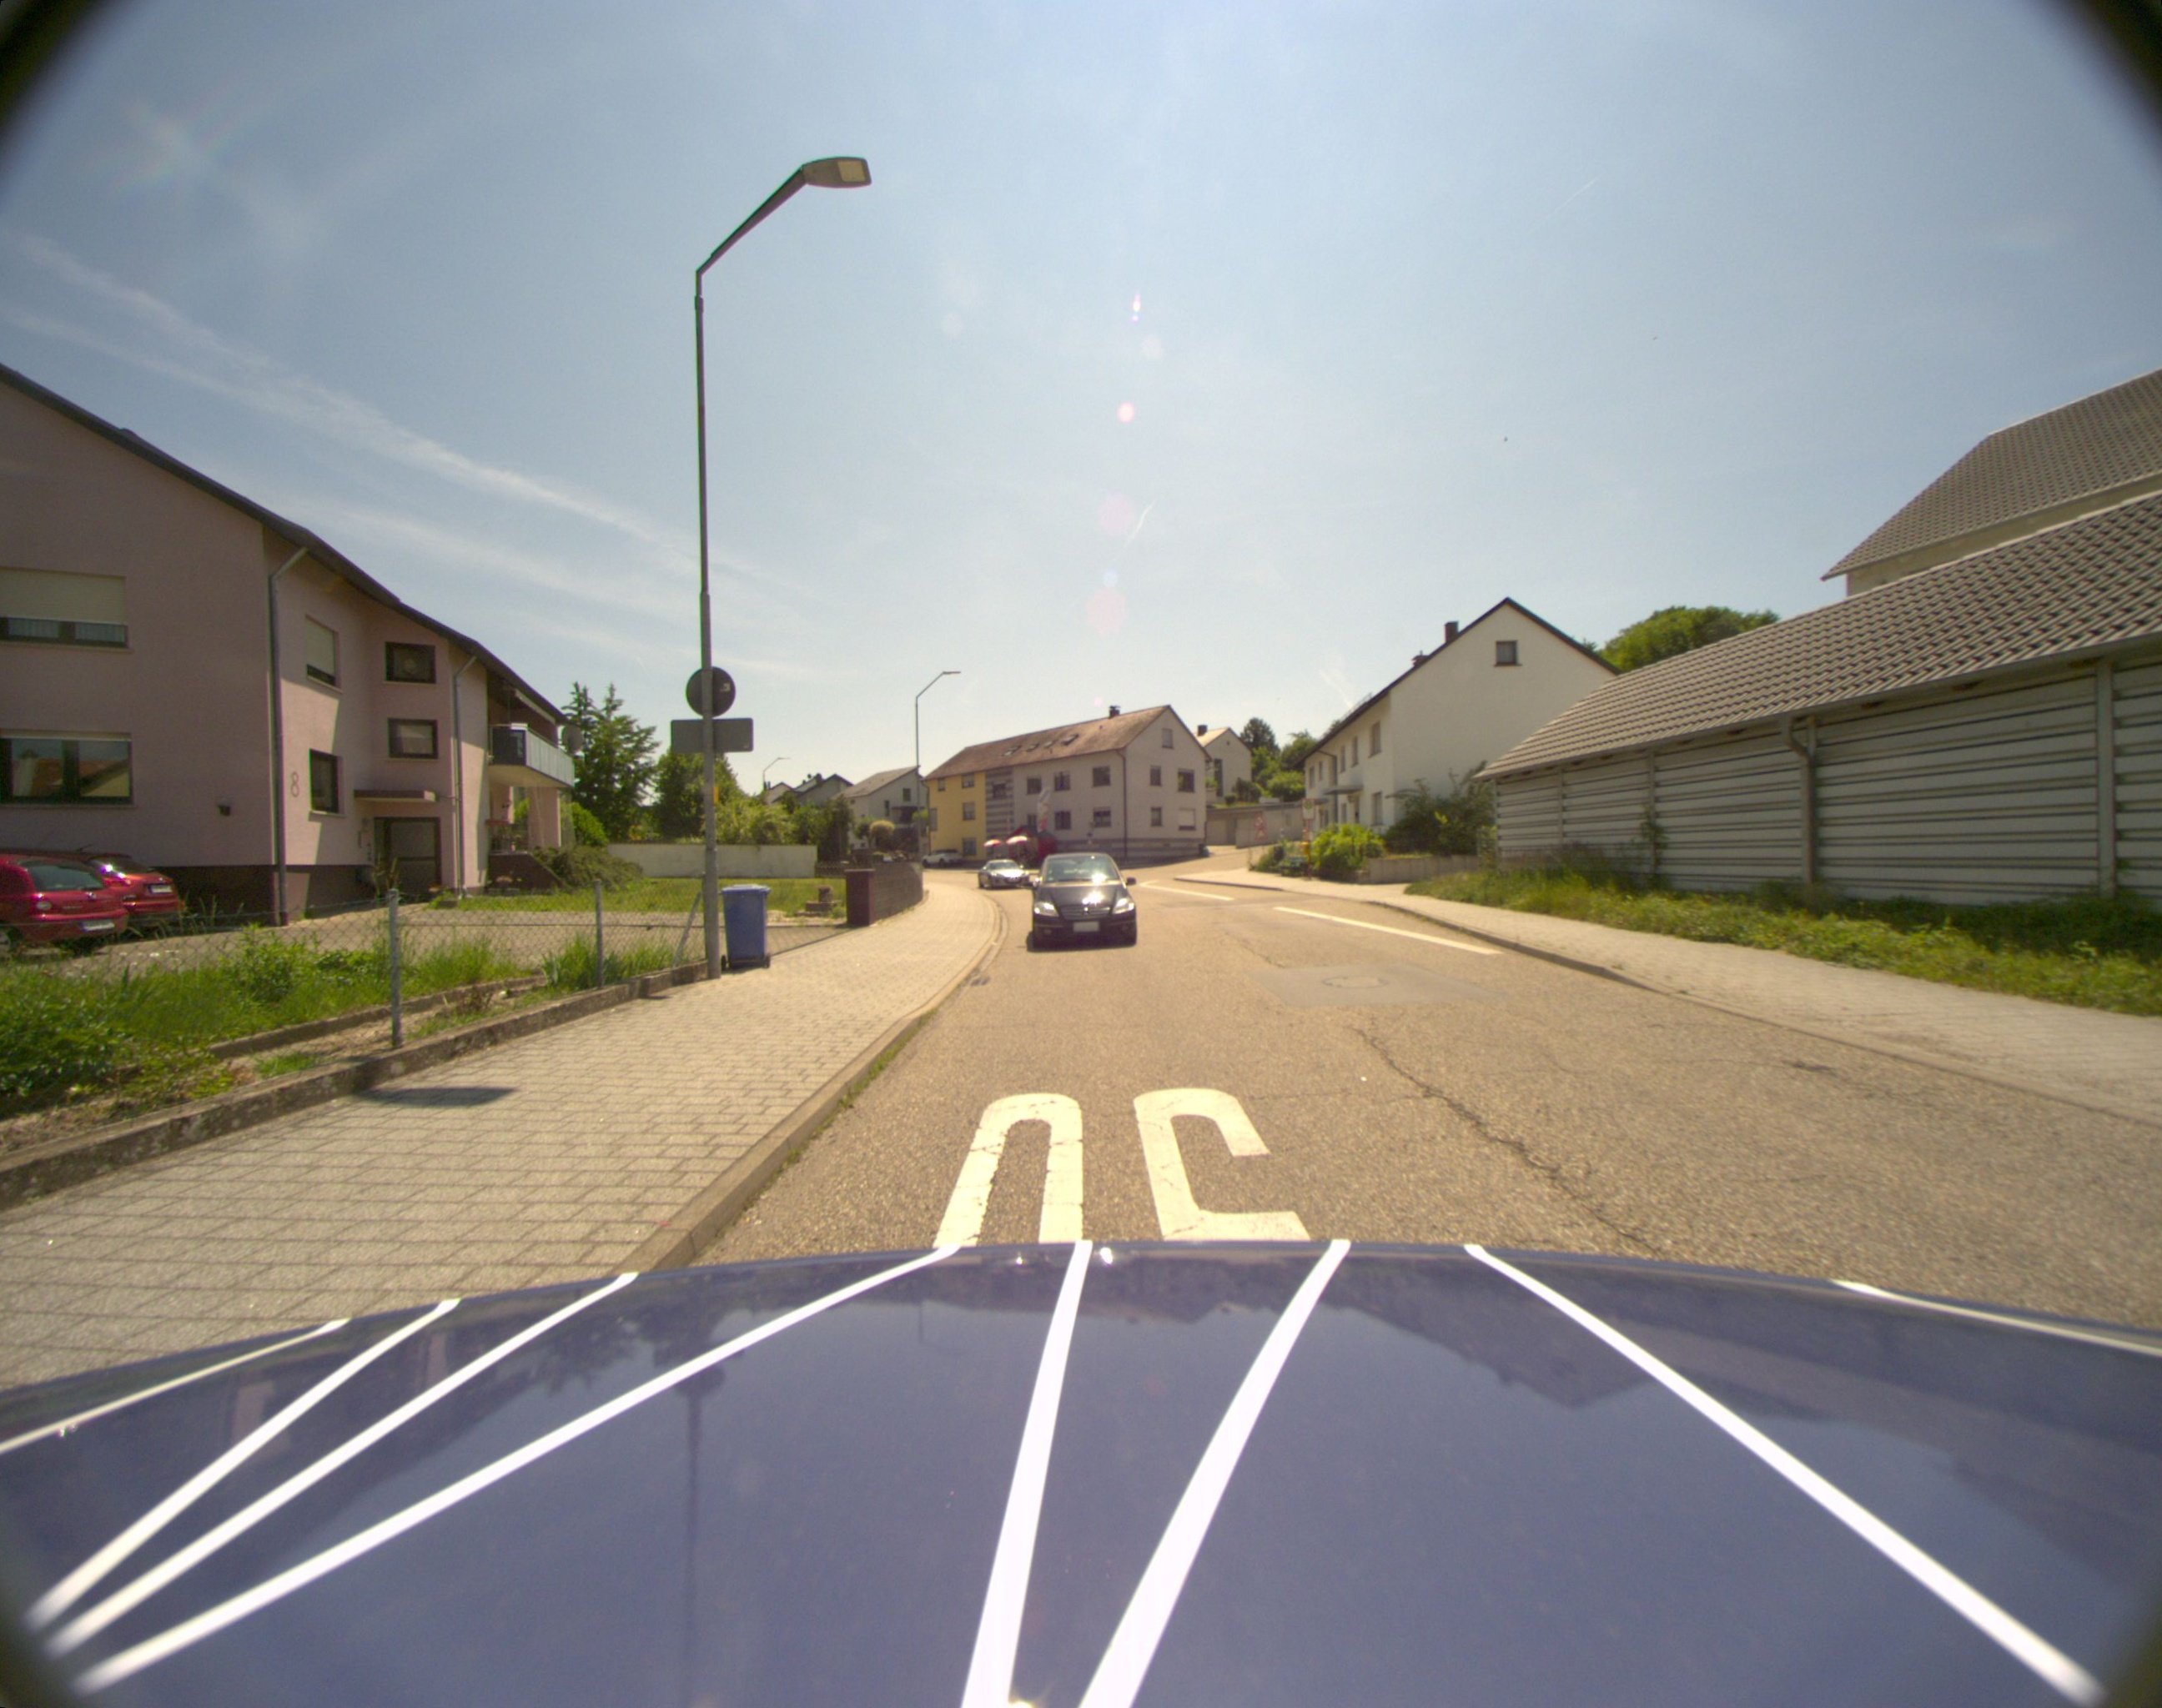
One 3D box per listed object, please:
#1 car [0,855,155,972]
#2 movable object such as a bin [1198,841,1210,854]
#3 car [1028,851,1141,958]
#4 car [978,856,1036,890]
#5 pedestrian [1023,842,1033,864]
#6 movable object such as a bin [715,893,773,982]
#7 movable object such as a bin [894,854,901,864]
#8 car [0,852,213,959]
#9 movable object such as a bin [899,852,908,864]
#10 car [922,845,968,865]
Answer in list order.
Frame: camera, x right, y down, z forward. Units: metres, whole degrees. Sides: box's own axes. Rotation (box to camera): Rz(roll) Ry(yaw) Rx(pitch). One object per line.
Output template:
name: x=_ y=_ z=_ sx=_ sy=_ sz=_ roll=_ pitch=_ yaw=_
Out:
car: x=-15.382 y=0.757 z=9.874 sx=3.842 sy=1.477 sz=1.758 roll=0 pitch=0 yaw=-23
movable object such as a bin: x=8.537 y=-0.456 z=52.856 sx=0.599 sy=0.929 sz=0.601 roll=0 pitch=2 yaw=44
car: x=-0.081 y=0.812 z=14.401 sx=1.765 sy=1.583 sz=4.195 roll=-2 pitch=2 yaw=-4
car: x=-3.384 y=0.812 z=34.116 sx=1.816 sy=1.307 sz=3.994 roll=-2 pitch=1 yaw=-17
pedestrian: x=-3.846 y=-0.080 z=55.216 sx=0.613 sy=1.578 sz=0.808 roll=-3 pitch=1 yaw=-11
movable object such as a bin: x=-4.331 y=1.060 z=9.798 sx=0.567 sy=1.051 sz=0.650 roll=-1 pitch=1 yaw=-15
movable object such as a bin: x=-16.965 y=0.480 z=70.250 sx=0.449 sy=0.933 sz=0.529 roll=-3 pitch=2 yaw=-45
car: x=-17.055 y=0.809 z=11.878 sx=4.131 sy=1.539 sz=1.847 roll=-2 pitch=1 yaw=-27
movable object such as a bin: x=-16.485 y=0.382 z=70.619 sx=0.473 sy=1.049 sz=0.632 roll=-4 pitch=3 yaw=-45
car: x=-11.344 y=0.080 z=63.144 sx=1.739 sy=1.543 sz=4.176 roll=-3 pitch=2 yaw=-43
